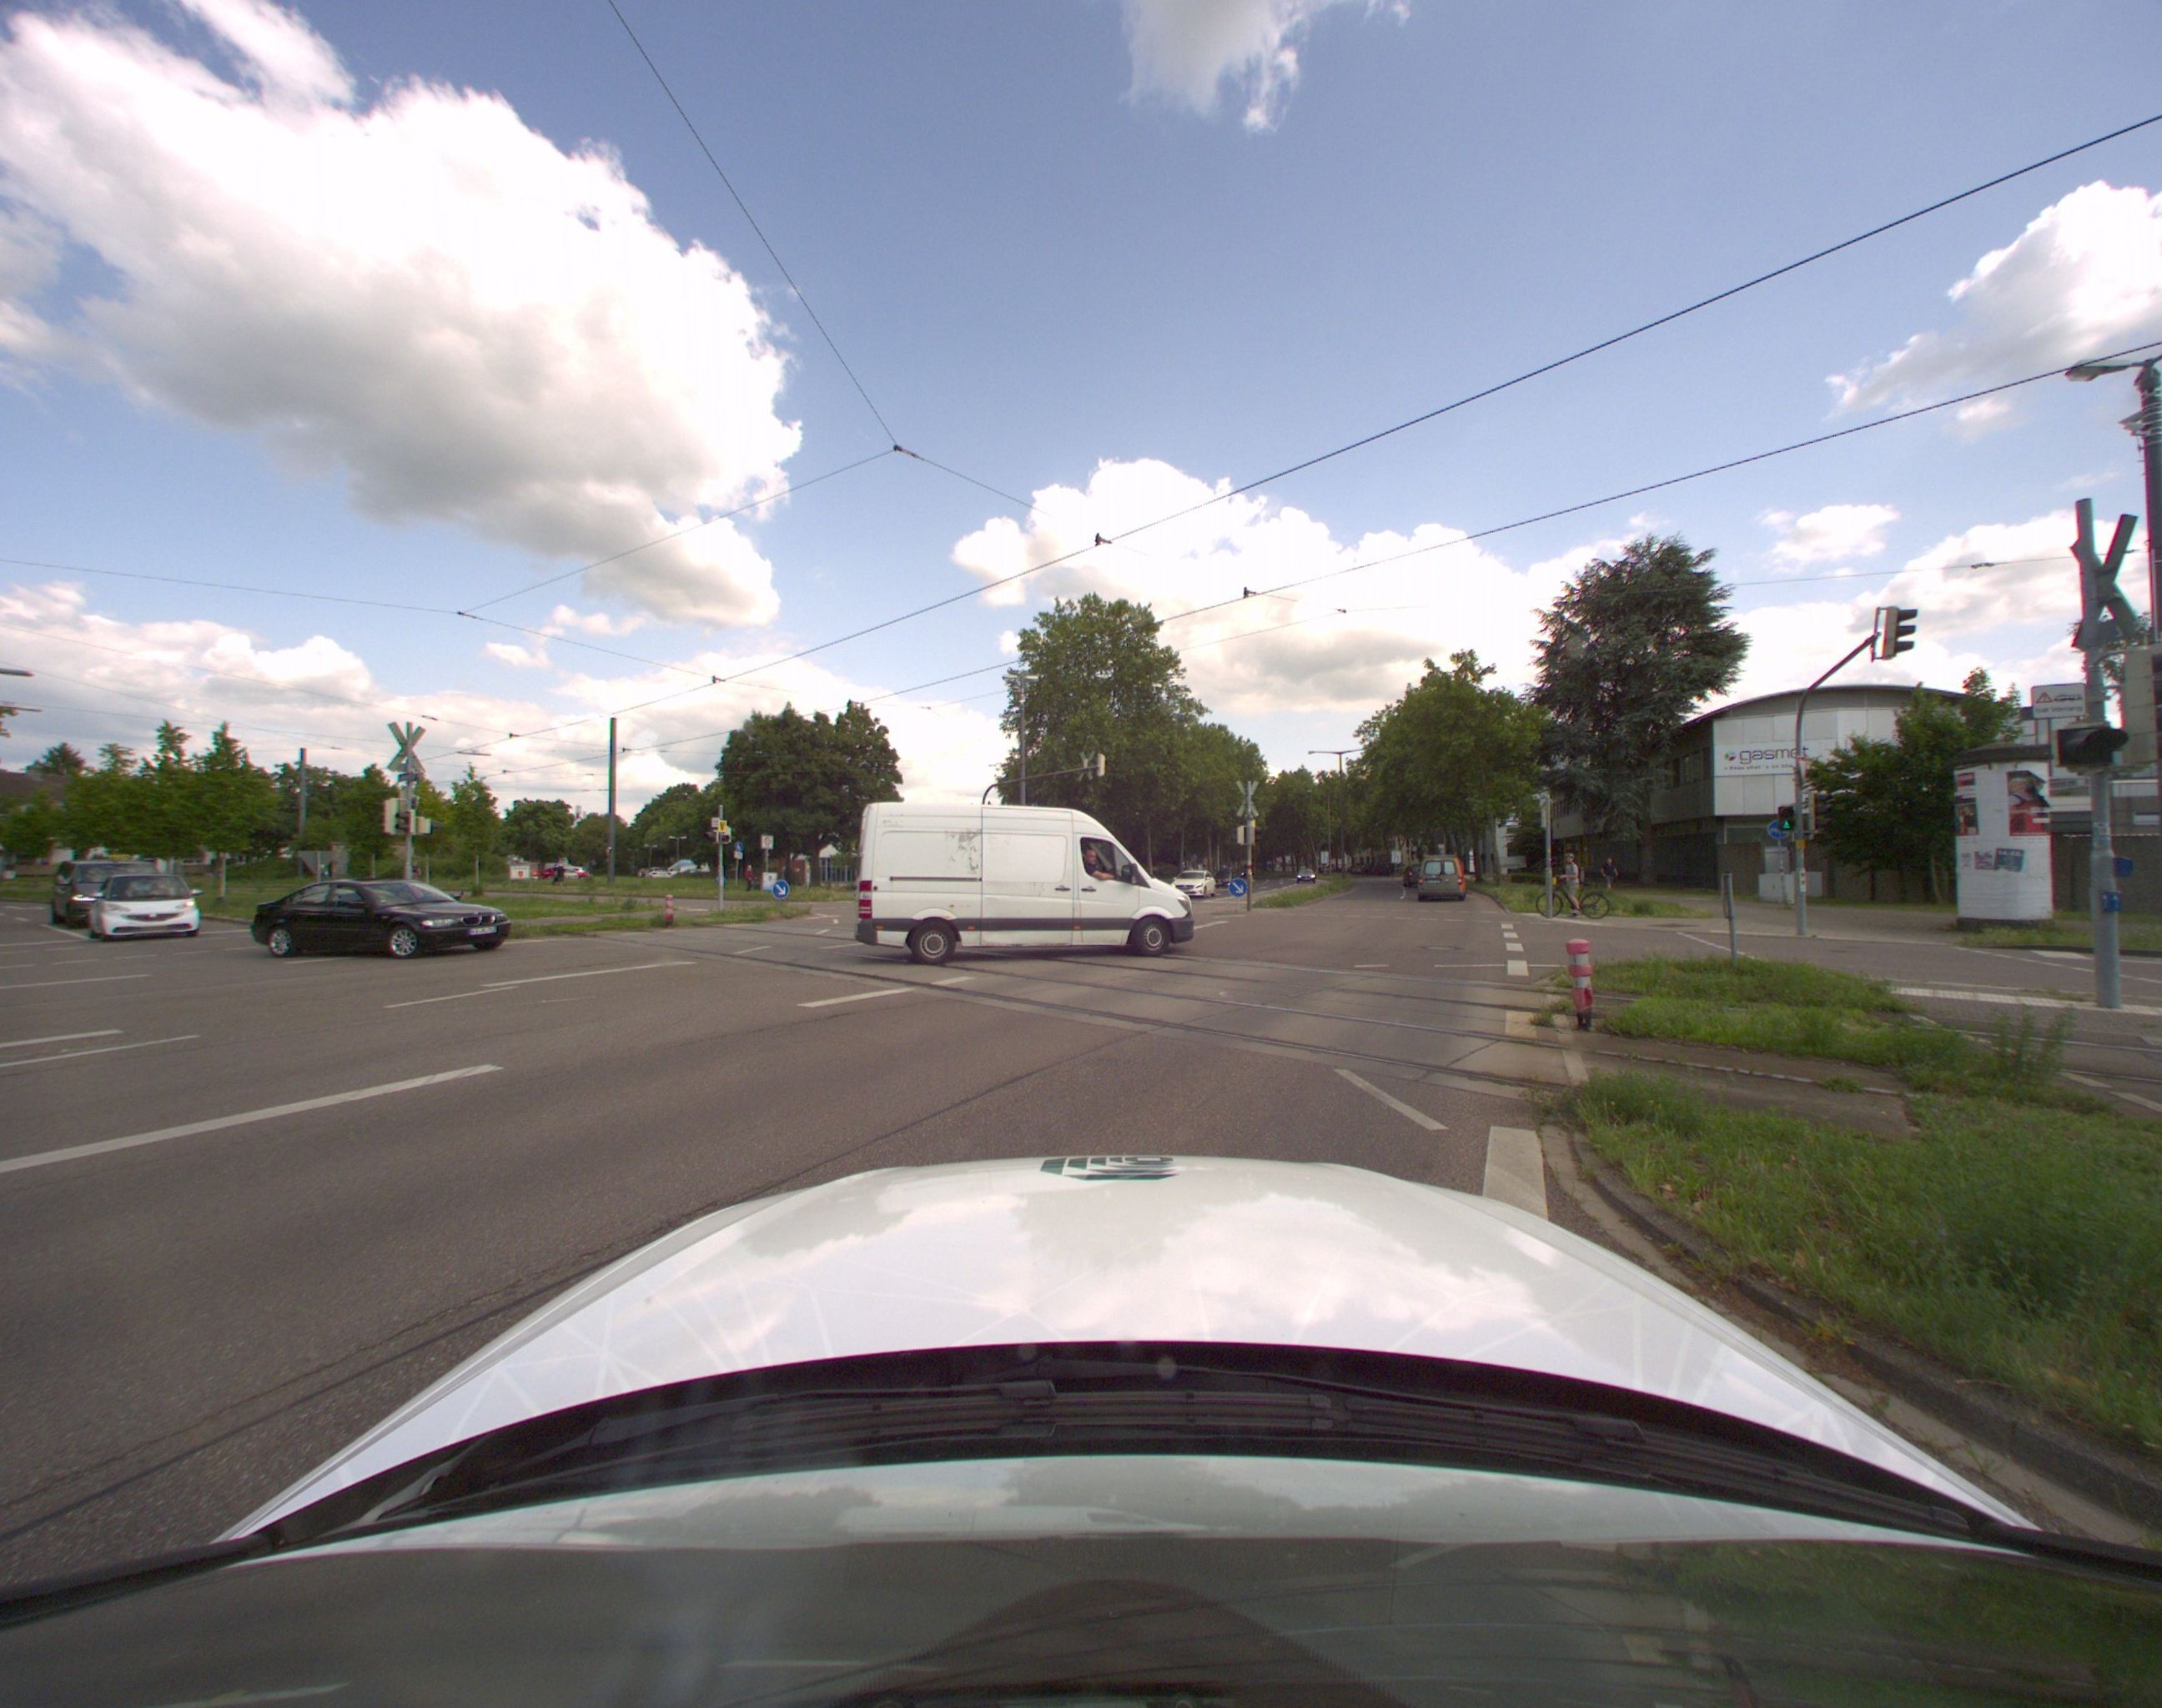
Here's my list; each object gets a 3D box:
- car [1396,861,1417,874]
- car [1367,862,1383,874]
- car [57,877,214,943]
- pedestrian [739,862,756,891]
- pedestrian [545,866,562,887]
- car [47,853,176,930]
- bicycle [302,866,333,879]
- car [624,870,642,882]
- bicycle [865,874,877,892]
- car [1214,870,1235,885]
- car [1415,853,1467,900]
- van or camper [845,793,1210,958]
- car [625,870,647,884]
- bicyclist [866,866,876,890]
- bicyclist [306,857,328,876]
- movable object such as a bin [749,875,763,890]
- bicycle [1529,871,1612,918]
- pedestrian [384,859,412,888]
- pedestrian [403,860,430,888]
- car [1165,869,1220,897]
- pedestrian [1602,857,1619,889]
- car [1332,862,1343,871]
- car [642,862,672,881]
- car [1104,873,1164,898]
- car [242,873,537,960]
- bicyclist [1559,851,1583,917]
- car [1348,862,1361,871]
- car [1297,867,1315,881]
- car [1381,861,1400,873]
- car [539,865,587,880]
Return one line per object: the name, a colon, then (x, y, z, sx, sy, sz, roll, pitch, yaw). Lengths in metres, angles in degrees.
car: (43.194, 1.812, 108.133, 1.980, 1.574, 4.015, -1, 1, 13)
car: (46.376, 2.191, 128.472, 1.980, 1.574, 4.015, -1, 1, 13)
car: (-23.291, 1.306, 20.027, 4.326, 1.431, 1.823, -1, -1, 31)
pedestrian: (-19.263, 1.272, 47.032, 0.631, 1.644, 0.616, -1, 1, 16)
pedestrian: (-35.165, 1.513, 54.254, 0.742, 1.354, 0.655, -1, 1, 31)
car: (-29.428, 1.090, 24.698, 4.326, 2.155, 1.867, -1, -1, 31)
bicycle: (-59.685, 1.455, 63.685, 1.961, 1.040, 0.956, 0, -1, 18)
car: (-66.573, 3.256, 120.963, 2.008, 1.640, 4.344, 0, -1, -34)
bicycle: (-13.572, 1.861, 52.648, 0.563, 1.130, 1.369, 0, -1, -22)
car: (11.813, 1.940, 67.131, 1.624, 1.192, 3.719, 0, -1, 11)
car: (15.038, 0.903, 33.980, 1.861, 1.800, 4.395, -1, -1, 24)
van or camper: (-0.939, 0.352, 14.185, 6.028, 2.525, 1.972, 0, -2, -15)
car: (-56.328, 2.904, 103.091, 2.008, 1.640, 4.344, 0, -1, -34)
bicyclist: (-13.567, 1.573, 52.624, 0.487, 1.554, 0.552, 1, -2, -22)
bicyclist: (-59.719, 0.947, 63.690, 0.826, 1.489, 0.968, -1, -1, 20)
movable object such as a bin: (-18.726, 1.659, 46.887, 0.455, 0.811, 0.581, -1, 1, 16)
bicycle: (13.626, 1.105, 22.686, 1.927, 1.235, 0.544, -1, 1, 34)
pedestrian: (-48.872, 1.401, 58.258, 1.162, 2.014, 1.113, -1, -1, 25)
pedestrian: (-48.389, 1.445, 59.326, 1.162, 2.014, 1.112, -1, -1, 24)
car: (5.909, 1.477, 42.681, 1.809, 1.364, 4.160, -1, -1, 23)
pedestrian: (26.126, 0.924, 40.181, 0.615, 1.569, 0.562, -1, 1, 24)
car: (52.979, 2.615, 168.201, 1.980, 1.574, 4.015, -1, 1, 13)
car: (-39.774, 1.628, 76.367, 2.008, 1.640, 4.344, 0, -1, -34)
car: (2.857, 1.644, 43.357, 1.619, 1.192, 3.731, -1, -1, 31)
car: (-12.741, 1.138, 15.091, 4.424, 1.431, 1.818, -2, -1, 12)
bicyclist: (13.640, 0.819, 22.665, 0.538, 1.809, 0.544, -1, 1, 34)
car: (51.998, 2.336, 154.662, 1.980, 1.574, 4.015, -1, 1, 13)
car: (22.333, 1.977, 80.846, 1.644, 1.271, 3.786, -1, 1, 14)
car: (45.603, 1.963, 120.012, 1.980, 1.574, 4.015, -1, 1, 13)
car: (-51.929, 1.833, 81.602, 4.015, 1.530, 1.979, 0, -1, -34)
